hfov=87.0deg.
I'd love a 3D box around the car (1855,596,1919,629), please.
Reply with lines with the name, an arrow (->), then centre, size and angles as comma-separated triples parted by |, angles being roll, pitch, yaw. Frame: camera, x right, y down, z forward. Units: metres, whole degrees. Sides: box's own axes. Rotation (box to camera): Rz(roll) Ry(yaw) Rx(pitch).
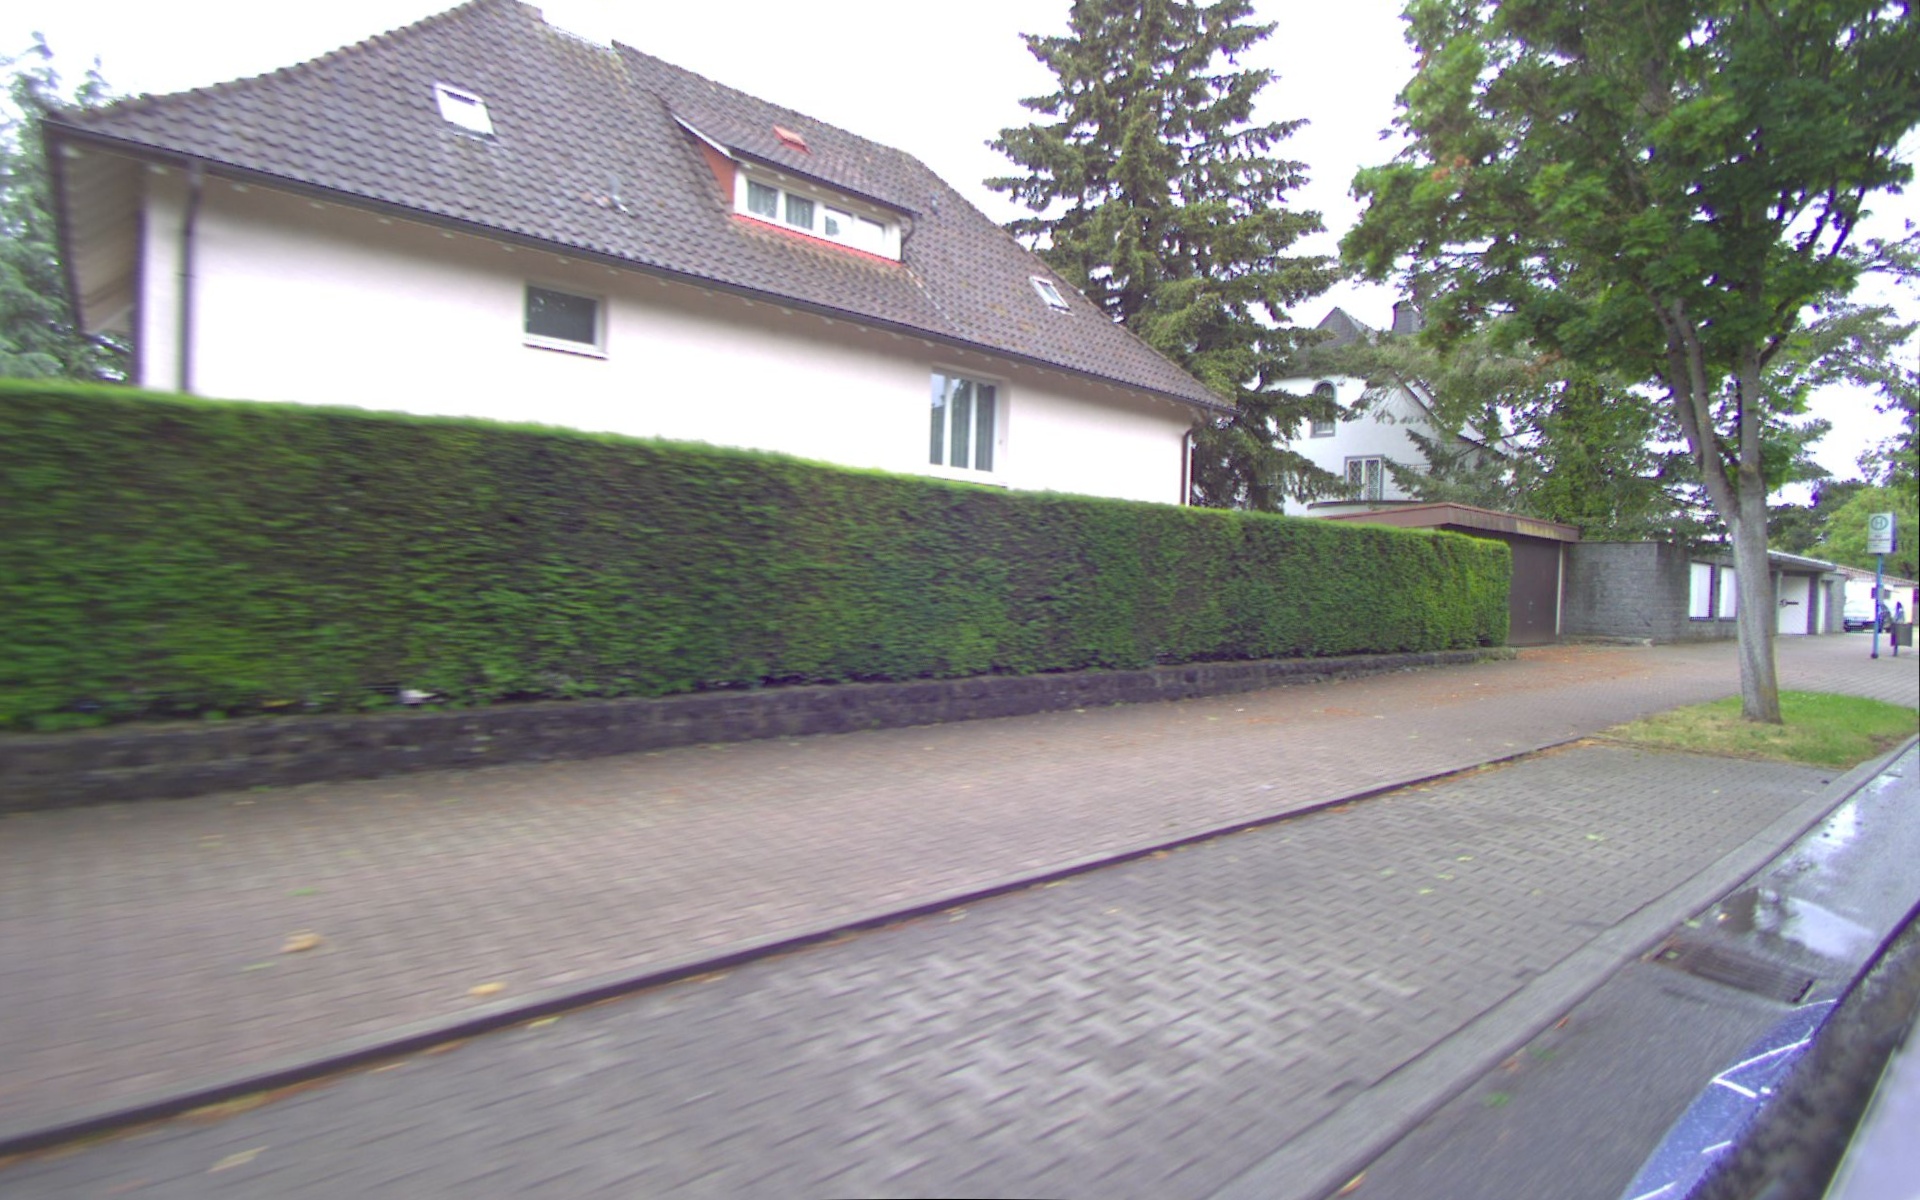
car -> 42.170, 0.544, 46.011 | 3.929, 1.440, 1.665 | 1, -1, -40

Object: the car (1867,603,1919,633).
car -> 51.309, 0.936, 55.620 | 3.929, 1.581, 1.698 | 0, 0, -40
